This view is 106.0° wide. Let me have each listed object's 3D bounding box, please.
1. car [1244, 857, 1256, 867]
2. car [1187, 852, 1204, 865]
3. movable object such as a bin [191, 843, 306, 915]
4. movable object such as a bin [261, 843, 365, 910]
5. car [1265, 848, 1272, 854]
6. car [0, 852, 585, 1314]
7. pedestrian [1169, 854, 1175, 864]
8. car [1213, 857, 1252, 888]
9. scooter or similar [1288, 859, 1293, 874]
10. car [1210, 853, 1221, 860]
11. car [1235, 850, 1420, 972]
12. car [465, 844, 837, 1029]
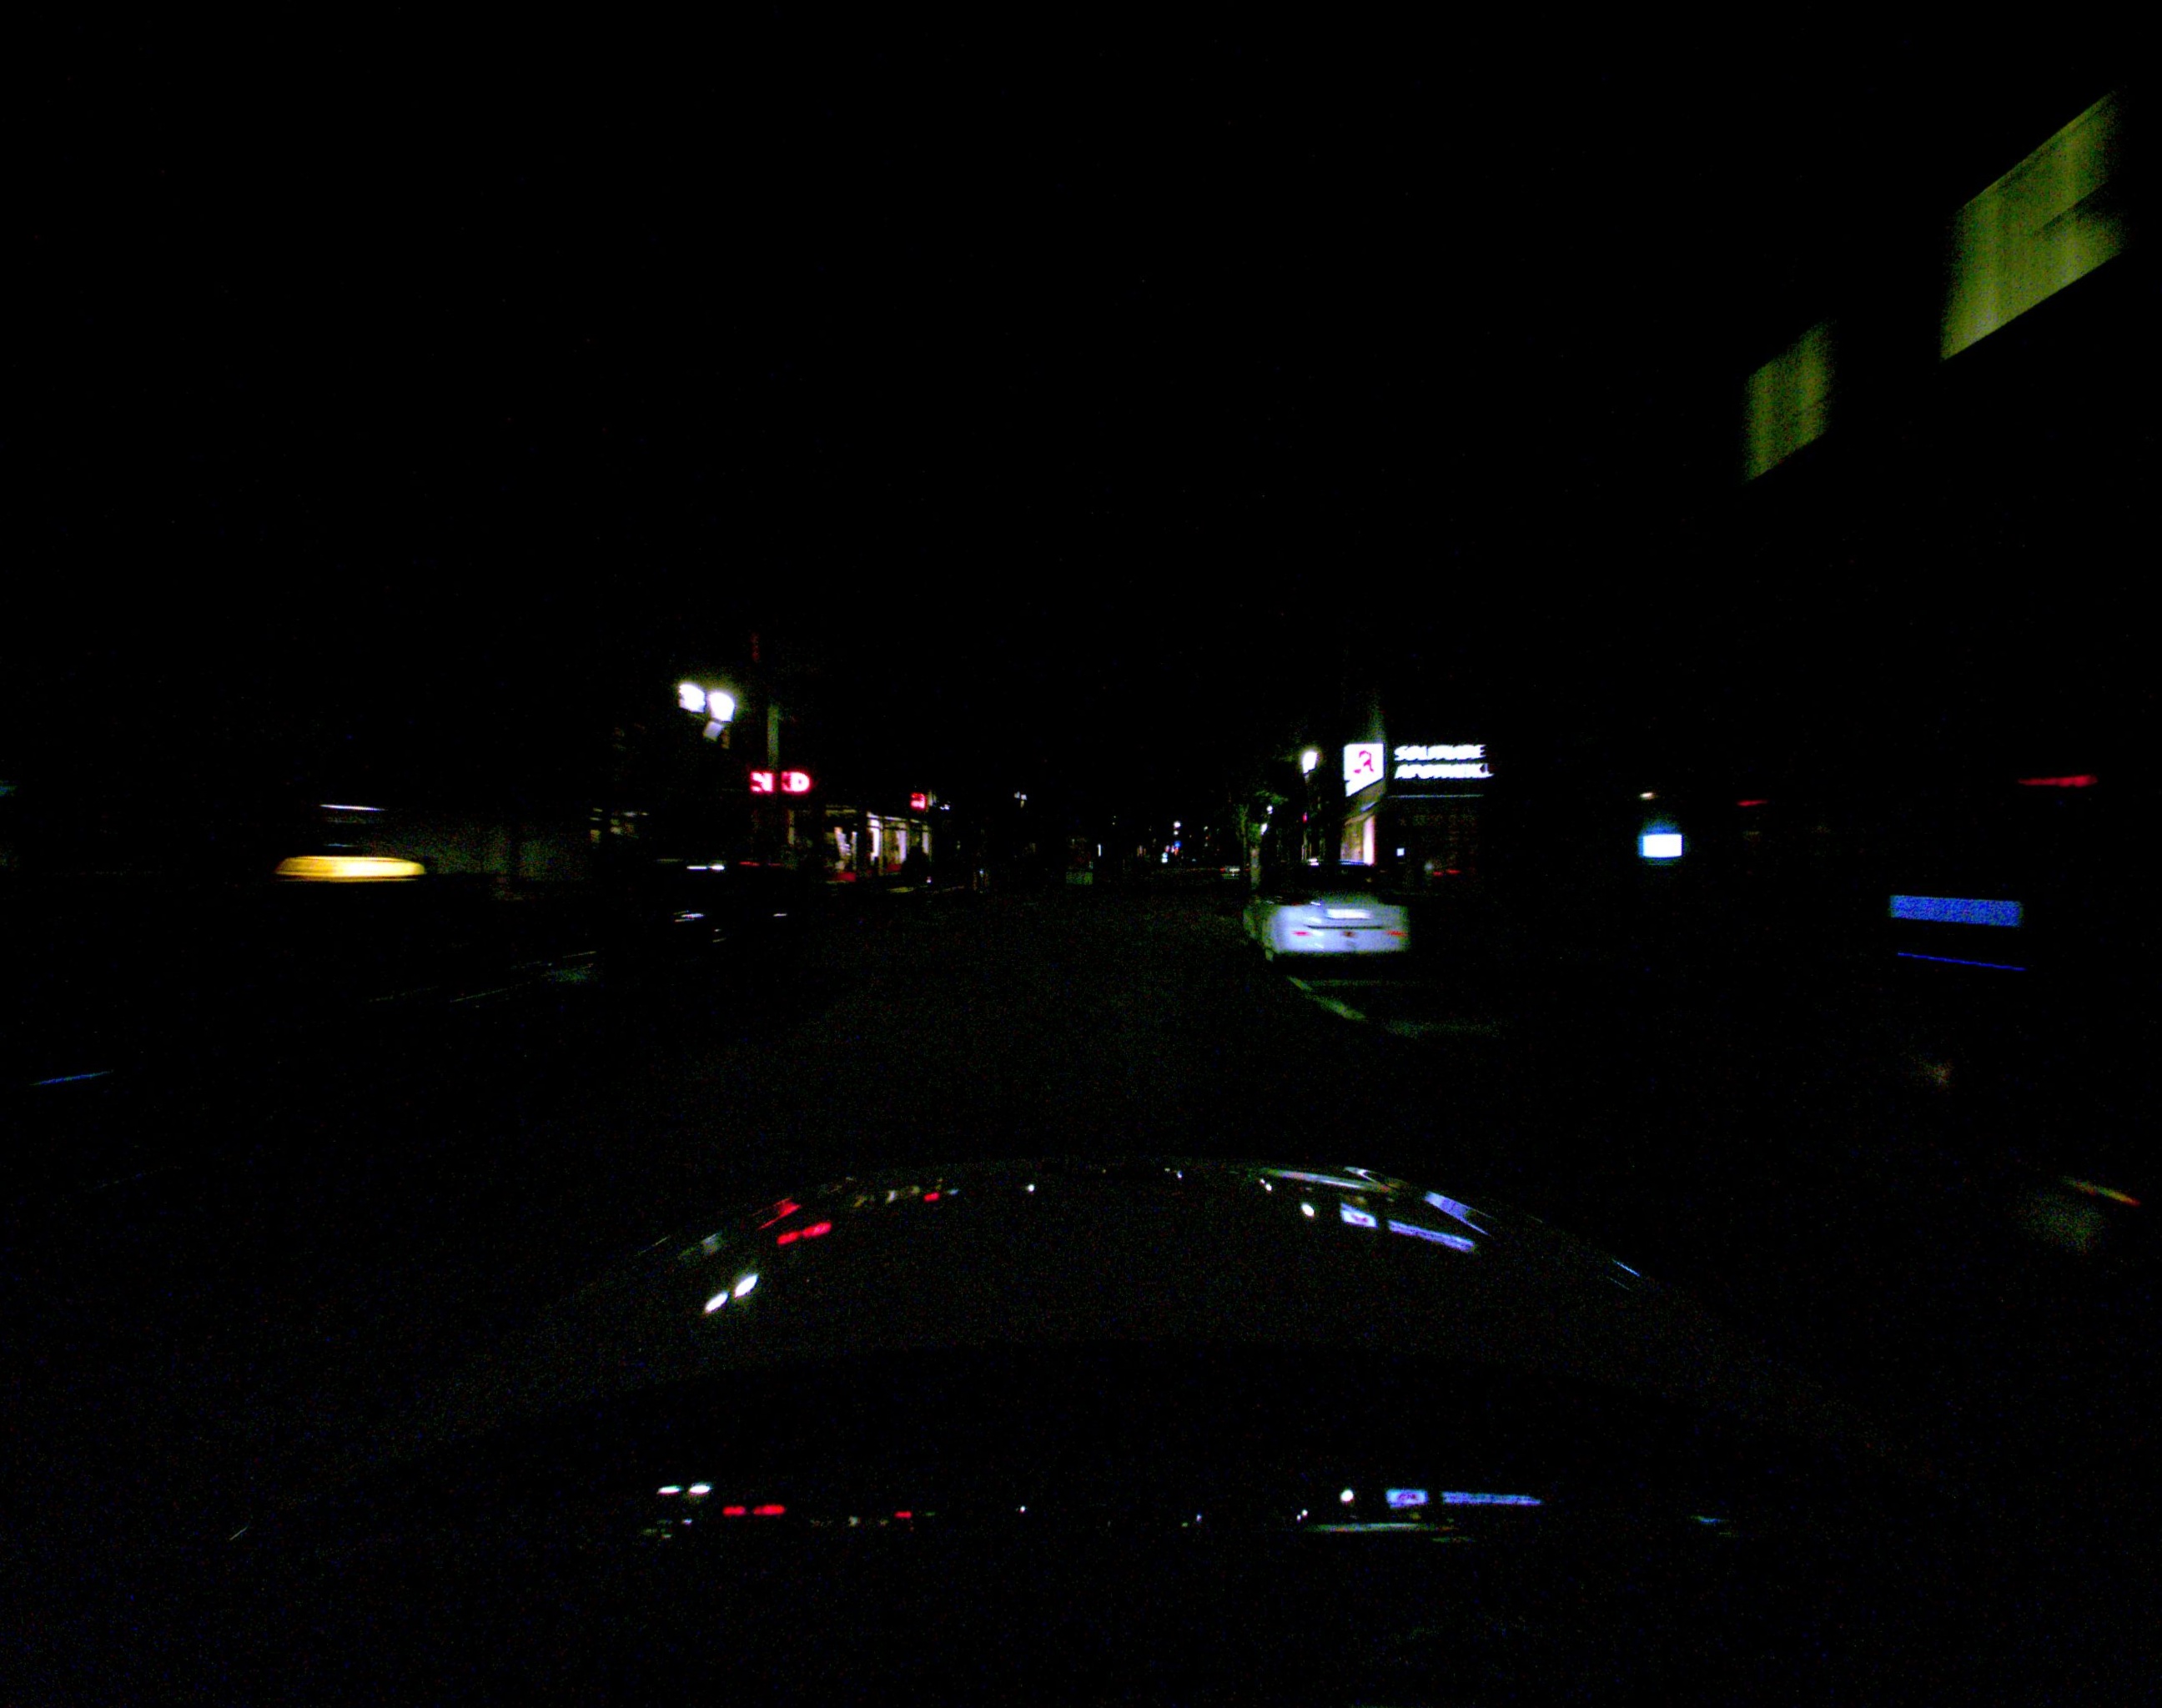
[{"bbox_3d":[25.503,1.137,122.899,1.664,1.459,3.687,0,0,11],"label":"car"},{"bbox_3d":[16.760,0.650,119.052,2.004,1.691,5.021,1,1,13],"label":"car"},{"bbox_3d":[-17.580,0.517,17.231,1.032,1.444,1.287,1,-1,4],"label":"movable object such as a bin"},{"bbox_3d":[-17.458,0.511,18.546,1.126,1.458,1.229,1,-1,4],"label":"movable object such as a bin"},{"bbox_3d":[51.092,-0.752,221.970,1.762,1.652,4.381,-1,1,14],"label":"car"},{"bbox_3d":[-4.588,0.771,3.542,1.899,1.542,4.781,1,0,0],"label":"car"},{"bbox_3d":[15.182,0.877,135.895,0.764,1.656,0.785,0,2,14],"label":"pedestrian"},{"bbox_3d":[7.687,0.900,41.636,1.725,1.441,4.506,0,0,7],"label":"car"},{"bbox_3d":[17.848,1.045,69.307,0.370,1.277,1.310,-1,-1,14],"label":"scooter or similar"},{"bbox_3d":[28.519,0.588,172.150,1.900,1.370,4.475,-1,1,15],"label":"car"},{"bbox_3d":[3.443,0.742,12.267,1.734,1.488,4.642,0,-1,5],"label":"car"},{"bbox_3d":[-4.553,0.735,9.654,1.752,1.637,4.816,0,0,1],"label":"car"}]
